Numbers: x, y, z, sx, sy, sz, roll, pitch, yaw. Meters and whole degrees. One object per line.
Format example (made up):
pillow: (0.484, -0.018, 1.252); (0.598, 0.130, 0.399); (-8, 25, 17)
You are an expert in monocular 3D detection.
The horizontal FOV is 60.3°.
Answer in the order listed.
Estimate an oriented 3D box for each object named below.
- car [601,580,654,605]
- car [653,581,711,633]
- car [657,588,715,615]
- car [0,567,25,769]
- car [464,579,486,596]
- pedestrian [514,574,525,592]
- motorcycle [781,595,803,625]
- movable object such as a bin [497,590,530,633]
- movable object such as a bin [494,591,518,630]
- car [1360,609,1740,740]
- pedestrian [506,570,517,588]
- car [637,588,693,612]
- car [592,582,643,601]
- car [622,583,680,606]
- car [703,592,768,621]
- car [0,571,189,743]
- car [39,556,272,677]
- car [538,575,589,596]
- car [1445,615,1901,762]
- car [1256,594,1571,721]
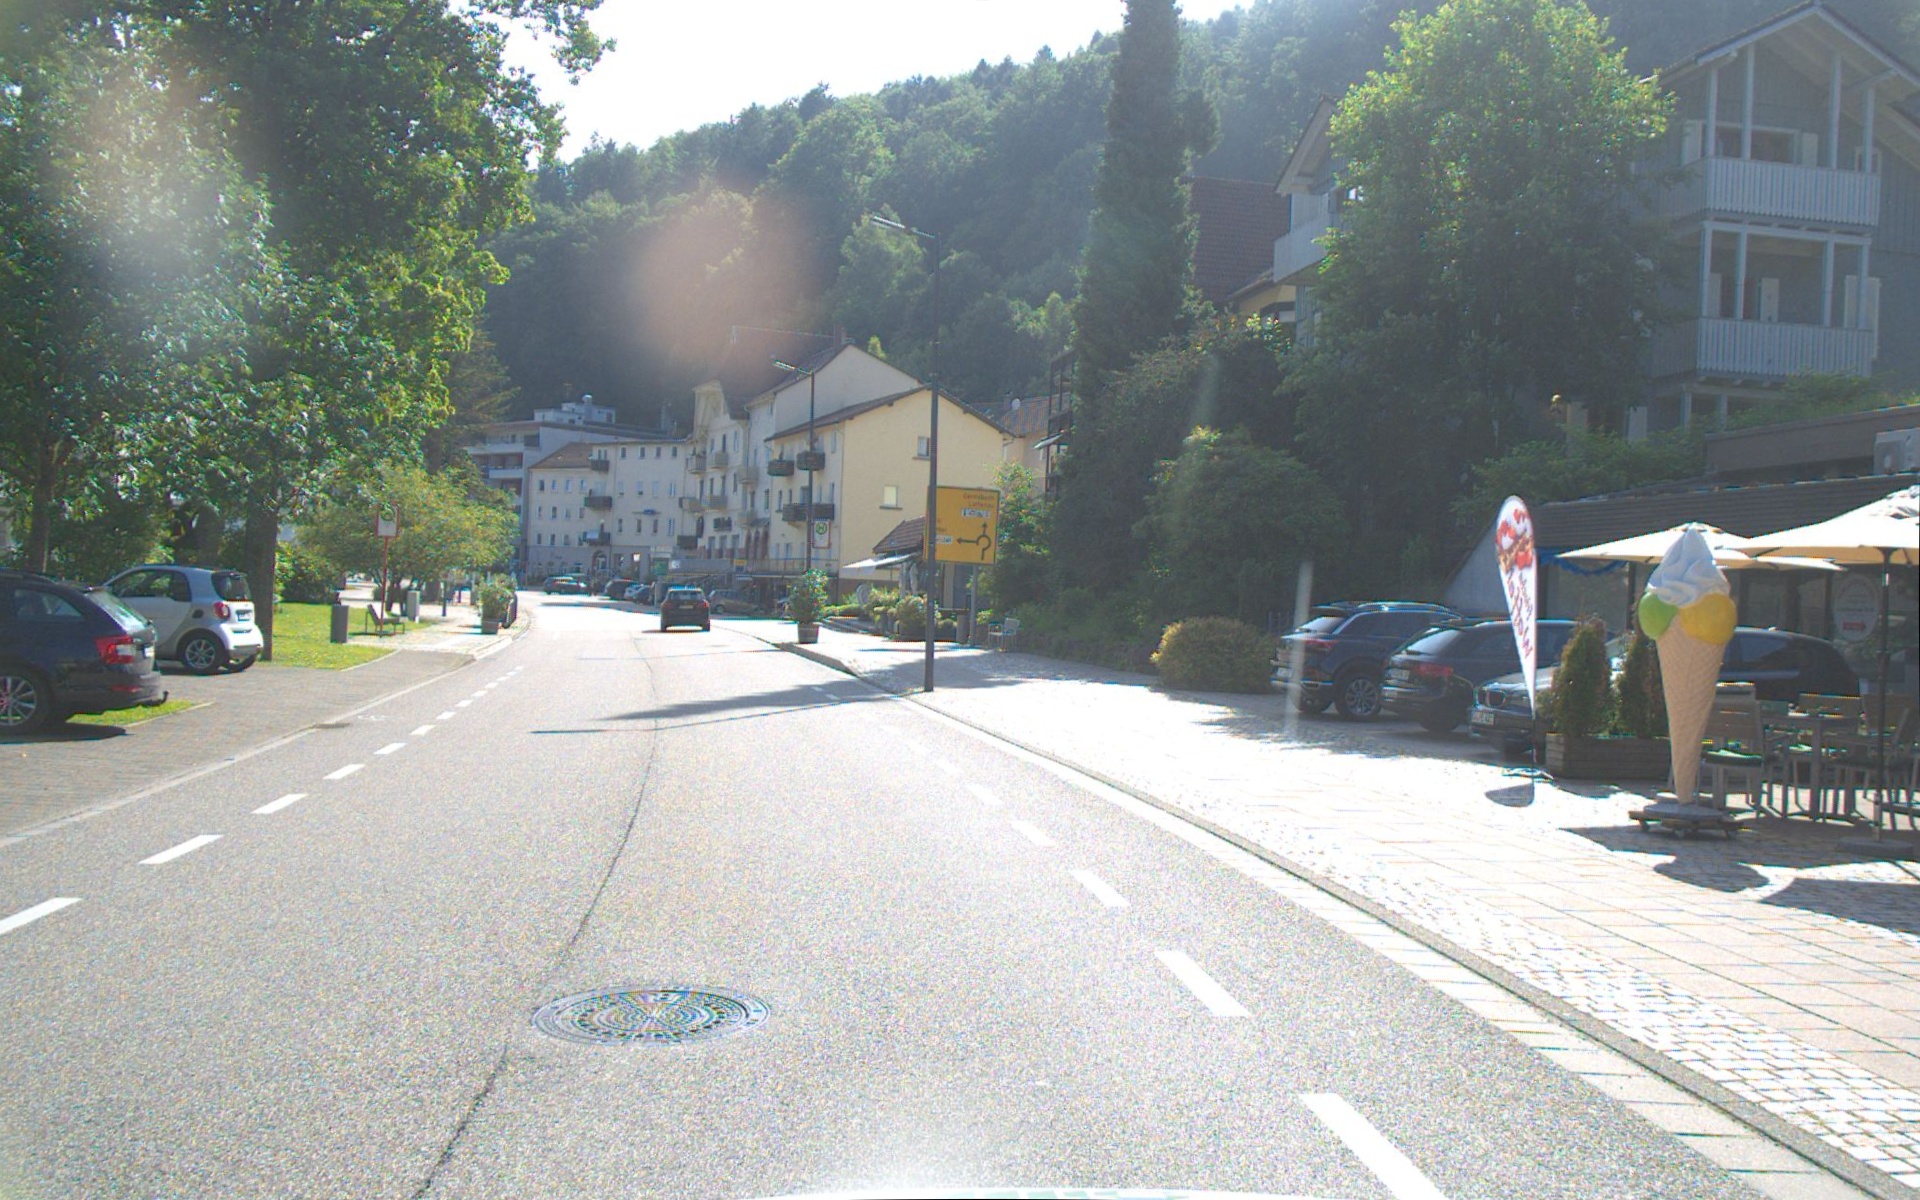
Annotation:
car: (-27.521, -0.625, 136.888); (4.026, 1.694, 1.762); (6, -1, -21)
car: (-10.097, 0.218, 59.928); (1.698, 1.601, 3.739); (4, 1, -14)
car: (-20.200, 0.097, 121.734); (3.854, 1.616, 1.764); (5, 0, -21)
car: (-9.321, 0.391, 11.579); (4.415, 1.536, 1.708); (4, 0, -12)
car: (-42.030, -1.105, 143.326); (1.712, 1.488, 4.170); (0, 0, -15)
pedestrian: (-42.366, -1.643, 159.087); (0.665, 1.758, 0.696); (3, 0, -43)
motorcycle: (-7.682, 0.438, 75.529); (0.685, 1.319, 2.204); (-1, 1, -14)
movable object such as a bin: (-16.315, 0.413, 60.469); (1.060, 1.452, 1.372); (4, -1, -14)
movable object such as a bin: (-17.109, 0.388, 62.303); (0.742, 1.365, 1.290); (4, -1, -14)
car: (7.144, 0.892, 20.197); (4.034, 1.440, 1.744); (2, 0, -10)
pedestrian: (-42.802, -2.002, 157.723); (0.753, 1.621, 0.618); (3, 0, -43)
car: (-22.600, -0.007, 126.633); (3.853, 1.486, 1.725); (5, -1, -21)
car: (-29.895, -0.753, 144.417); (3.987, 1.542, 1.746); (-1, 4, -42)
car: (-24.823, -0.450, 132.811); (4.290, 1.486, 1.763); (4, -2, -19)
car: (-14.802, 0.412, 108.988); (3.808, 1.581, 1.748); (5, -1, -24)
car: (-9.622, 0.424, 15.285); (4.207, 1.457, 1.705); (4, -1, -17)
car: (-12.005, 0.249, 24.828); (2.600, 1.573, 1.680); (4, -1, -5)
car: (-34.618, -1.263, 144.526); (3.948, 1.691, 1.979); (0, 1, -32)
car: (7.484, 0.916, 17.519); (4.184, 1.403, 1.705); (2, 0, -10)
car: (6.217, 0.769, 22.863); (3.804, 1.607, 1.744); (2, 0, -10)
